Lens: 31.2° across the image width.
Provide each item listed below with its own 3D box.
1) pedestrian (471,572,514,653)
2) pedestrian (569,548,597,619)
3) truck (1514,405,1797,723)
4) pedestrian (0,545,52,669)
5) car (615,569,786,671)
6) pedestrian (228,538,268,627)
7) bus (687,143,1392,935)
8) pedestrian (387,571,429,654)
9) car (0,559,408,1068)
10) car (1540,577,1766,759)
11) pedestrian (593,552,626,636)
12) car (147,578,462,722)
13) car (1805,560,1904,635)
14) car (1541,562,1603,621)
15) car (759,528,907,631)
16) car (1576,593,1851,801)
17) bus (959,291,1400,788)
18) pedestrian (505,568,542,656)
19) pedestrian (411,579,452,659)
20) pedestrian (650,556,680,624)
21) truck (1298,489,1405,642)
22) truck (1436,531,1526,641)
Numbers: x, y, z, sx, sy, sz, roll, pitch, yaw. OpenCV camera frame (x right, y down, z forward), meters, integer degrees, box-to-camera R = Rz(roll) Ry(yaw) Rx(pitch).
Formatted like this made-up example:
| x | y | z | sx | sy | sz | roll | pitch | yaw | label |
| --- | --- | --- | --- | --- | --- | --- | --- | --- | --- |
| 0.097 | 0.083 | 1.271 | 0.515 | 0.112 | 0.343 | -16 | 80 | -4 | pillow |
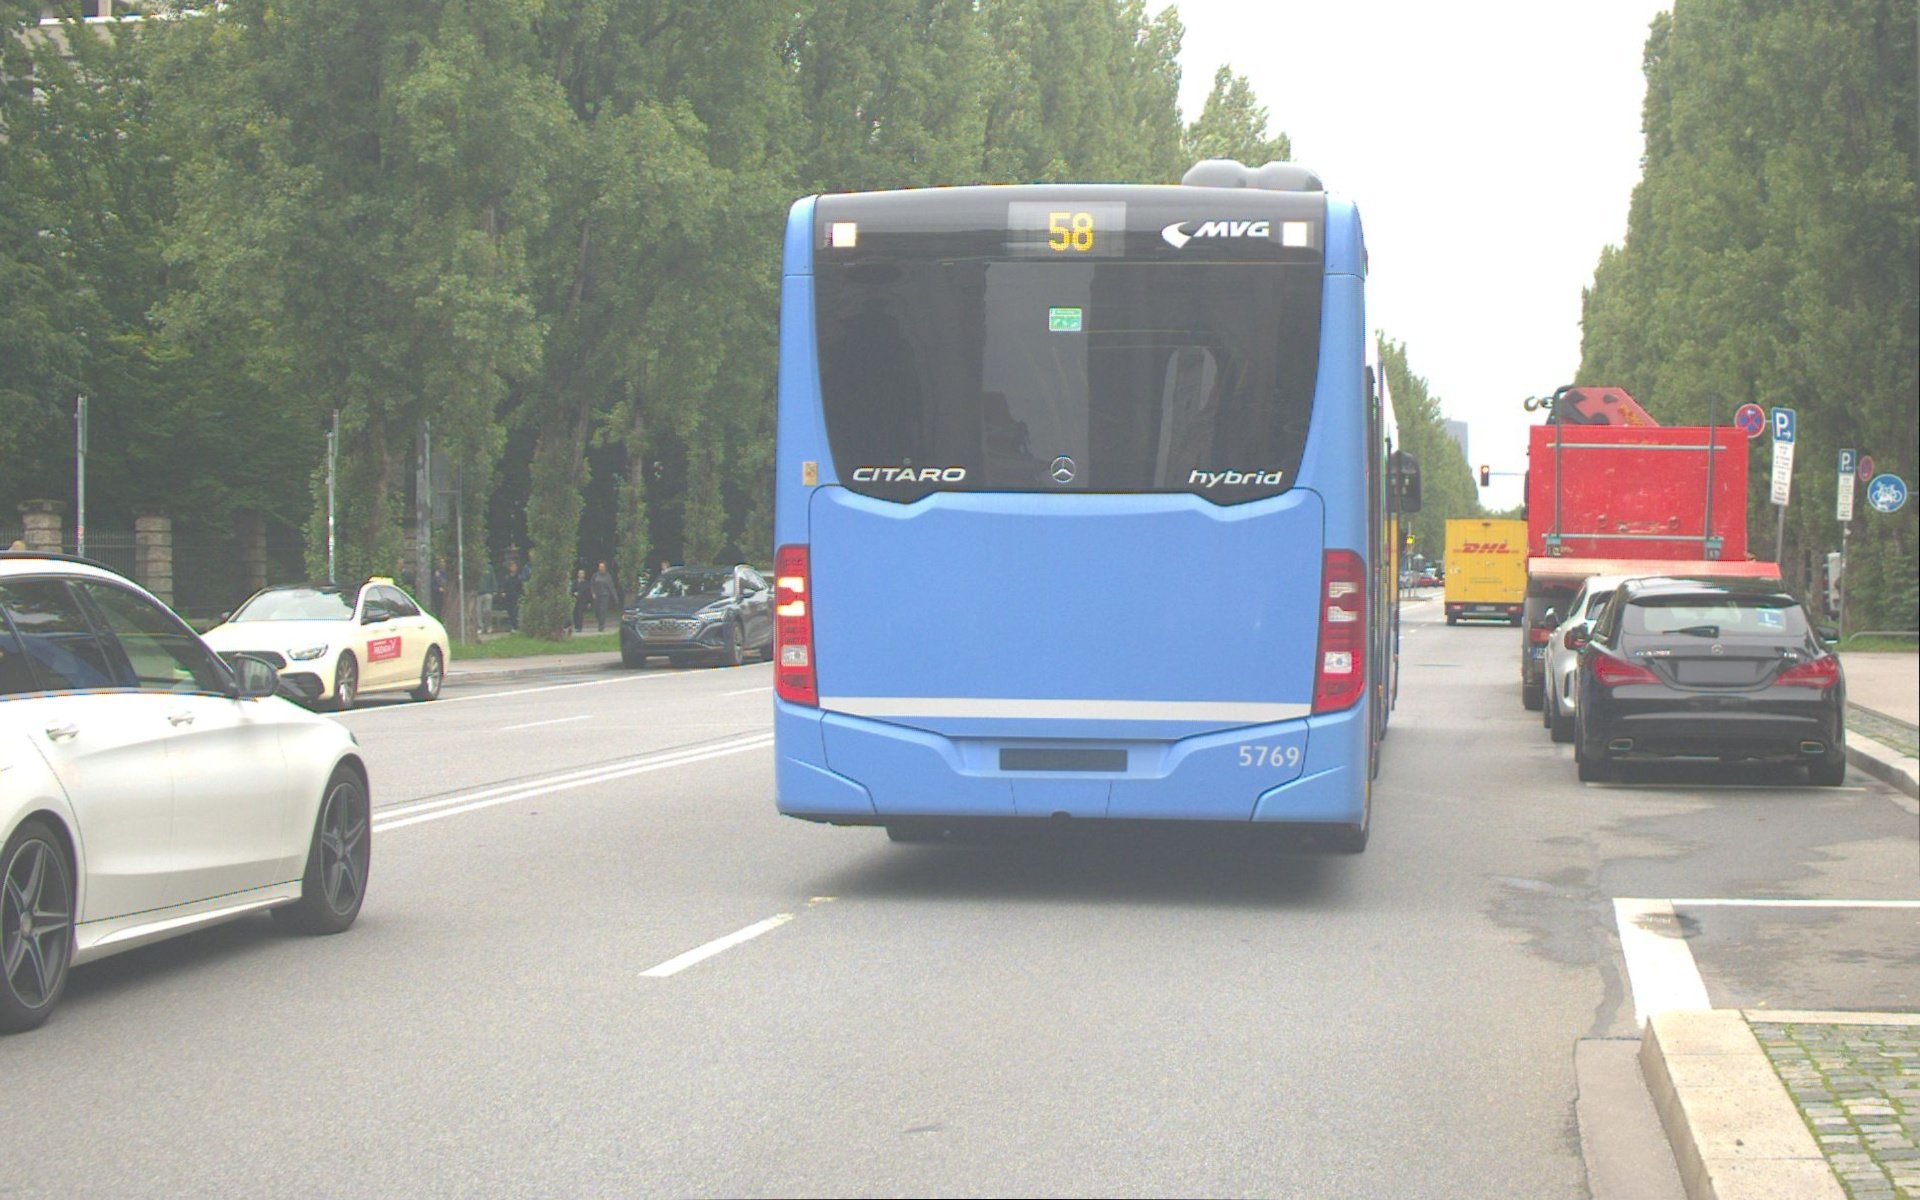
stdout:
| x | y | z | sx | sy | sz | roll | pitch | yaw | label |
| --- | --- | --- | --- | --- | --- | --- | --- | --- | --- |
| -10.742 | 0.274 | 79.044 | 0.747 | 1.848 | 0.757 | 1 | 0 | 10 | pedestrian |
| -9.072 | -0.398 | 82.732 | 0.509 | 1.701 | 0.569 | 1 | 0 | 10 | pedestrian |
| 7.689 | -0.388 | 38.802 | 2.714 | 3.099 | 10.422 | 0 | 0 | 10 | truck |
| -13.185 | 0.096 | 48.217 | 0.582 | 1.714 | 0.786 | 1 | 0 | 8 | pedestrian |
| -4.306 | 0.303 | 57.808 | 1.783 | 1.590 | 4.612 | -2 | 0 | 9 | car |
| -16.089 | -0.393 | 77.665 | 0.697 | 2.007 | 0.560 | 1 | 0 | 10 | pedestrian |
| 0.867 | -0.305 | 18.573 | 2.856 | 3.202 | 9.057 | 1 | 1 | 7 | bus |
| -11.237 | 0.251 | 70.037 | 0.618 | 1.654 | 0.704 | 1 | 0 | 11 | pedestrian |
| -3.415 | 0.585 | 11.393 | 1.826 | 1.449 | 4.581 | 1 | 0 | 8 | car |
| 6.061 | 0.539 | 30.425 | 1.788 | 1.455 | 4.216 | 1 | 1 | 9 | car |
| -8.445 | -0.144 | 82.785 | 0.624 | 2.007 | 0.595 | 1 | 0 | 11 | pedestrian |
| -7.411 | 0.529 | 39.408 | 1.932 | 1.492 | 4.788 | 0 | 1 | 10 | car |
| 23.752 | -0.073 | 91.461 | 1.994 | 1.919 | 5.322 | 1 | 0 | 9 | car |
| 21.214 | -0.320 | 119.162 | 2.053 | 2.007 | 5.690 | 0 | 1 | 10 | car |
| -2.501 | -0.423 | 69.103 | 1.994 | 1.950 | 4.935 | -1 | 0 | 9 | car |
| 5.254 | 0.616 | 24.365 | 1.736 | 1.305 | 4.368 | 0 | 0 | 10 | car |
| 2.070 | -0.440 | 27.791 | 2.873 | 3.293 | 9.786 | 0 | 0 | 8 | bus |
| -10.074 | 0.275 | 79.337 | 0.666 | 2.007 | 0.638 | 1 | 0 | 9 | pedestrian |
| -11.380 | 0.407 | 74.060 | 0.667 | 1.716 | 0.733 | 0 | 0 | 11 | pedestrian |
| -7.655 | -0.264 | 89.301 | 0.608 | 1.751 | 0.757 | 0 | 0 | 8 | pedestrian |
| 10.705 | -0.937 | 93.481 | 2.716 | 3.952 | 9.215 | 0 | 0 | 7 | truck |
| 14.350 | -0.382 | 94.526 | 2.328 | 2.888 | 7.330 | 1 | 0 | 9 | truck |
